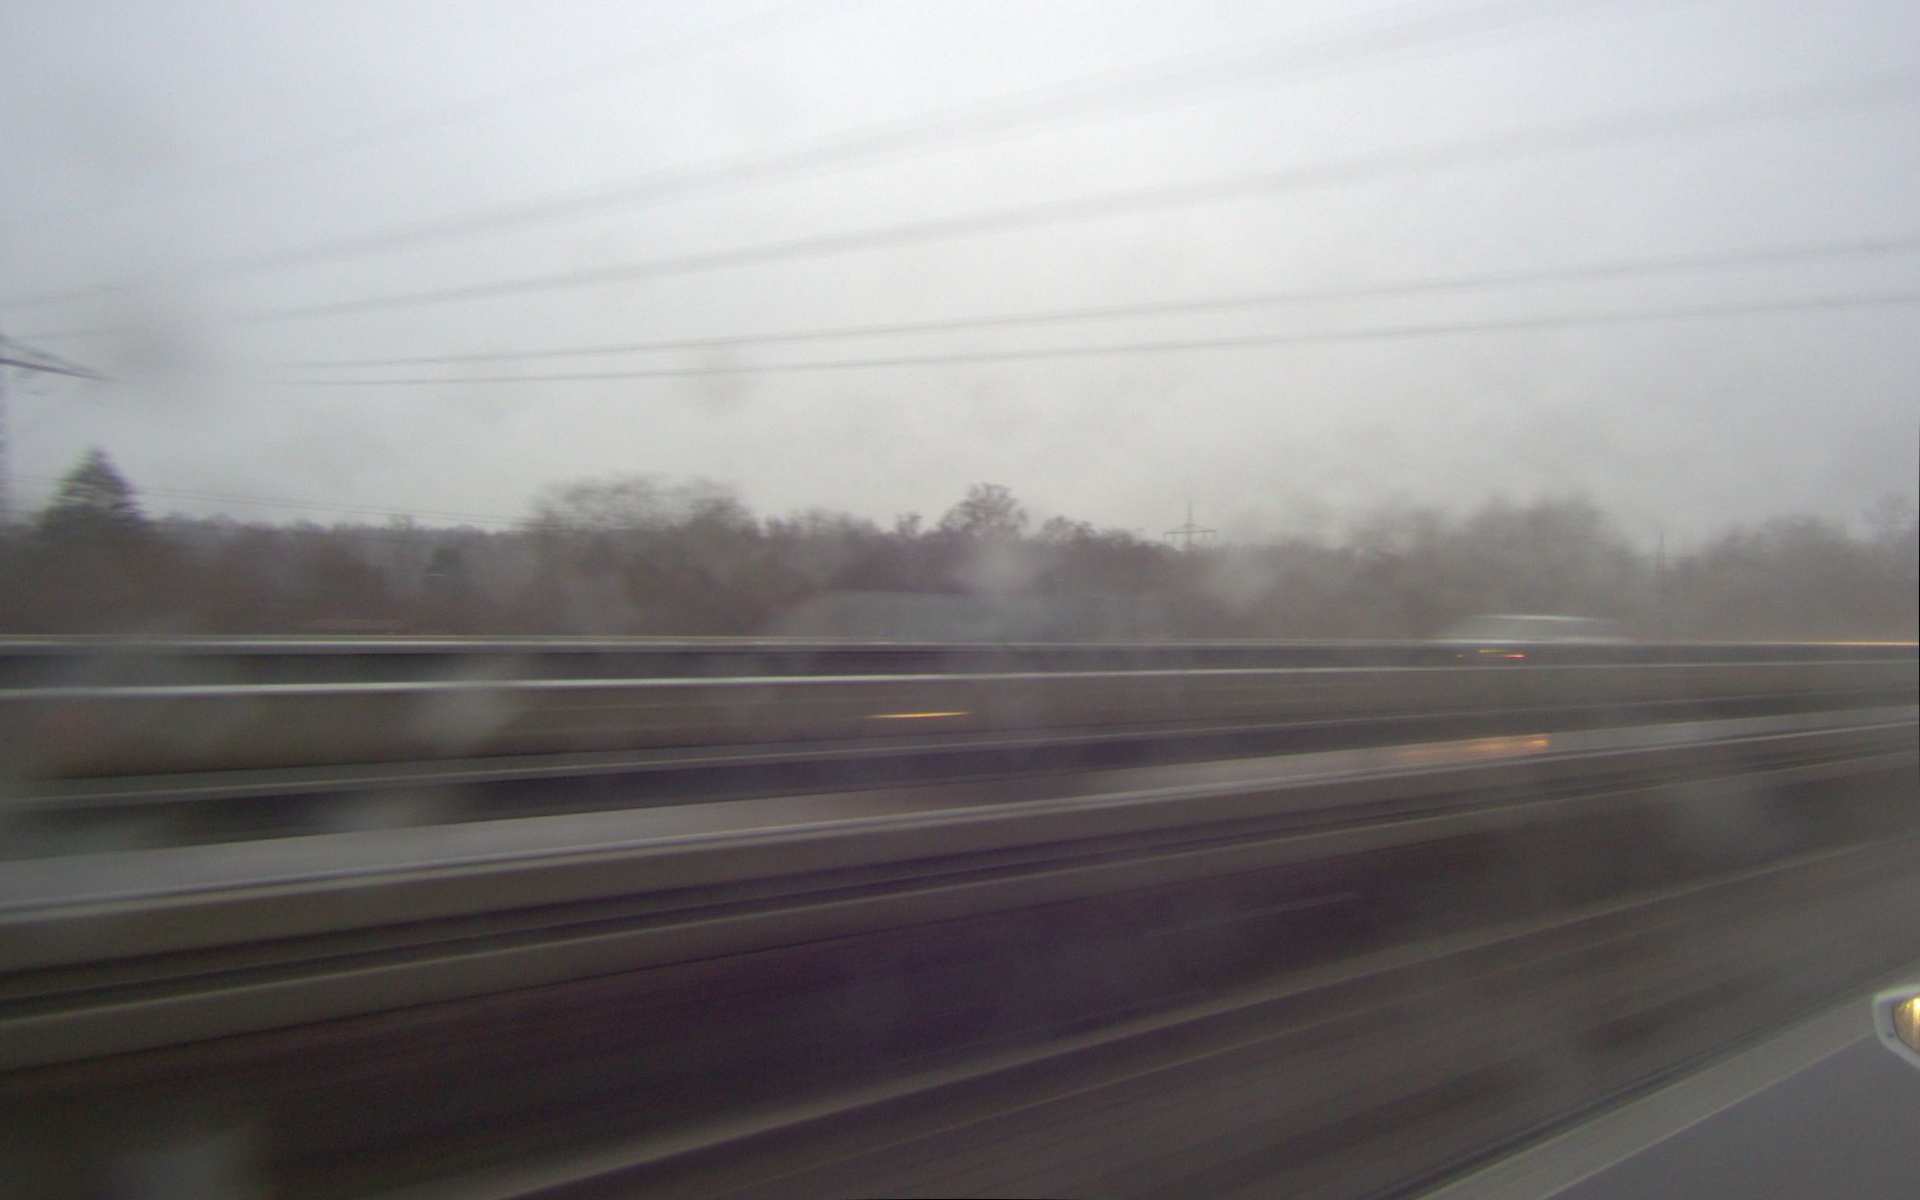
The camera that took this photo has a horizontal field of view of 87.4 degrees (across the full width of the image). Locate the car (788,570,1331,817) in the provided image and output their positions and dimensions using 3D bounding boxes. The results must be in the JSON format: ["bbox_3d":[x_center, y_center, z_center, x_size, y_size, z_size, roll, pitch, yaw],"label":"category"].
[{"bbox_3d":[0.842,0.615,8.095,3.954,1.530,1.984,2,0,-31],"label":"car"}]

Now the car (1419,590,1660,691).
[{"bbox_3d":[11.726,0.775,20.258,4.753,1.815,2.153,1,0,-31],"label":"car"}]
